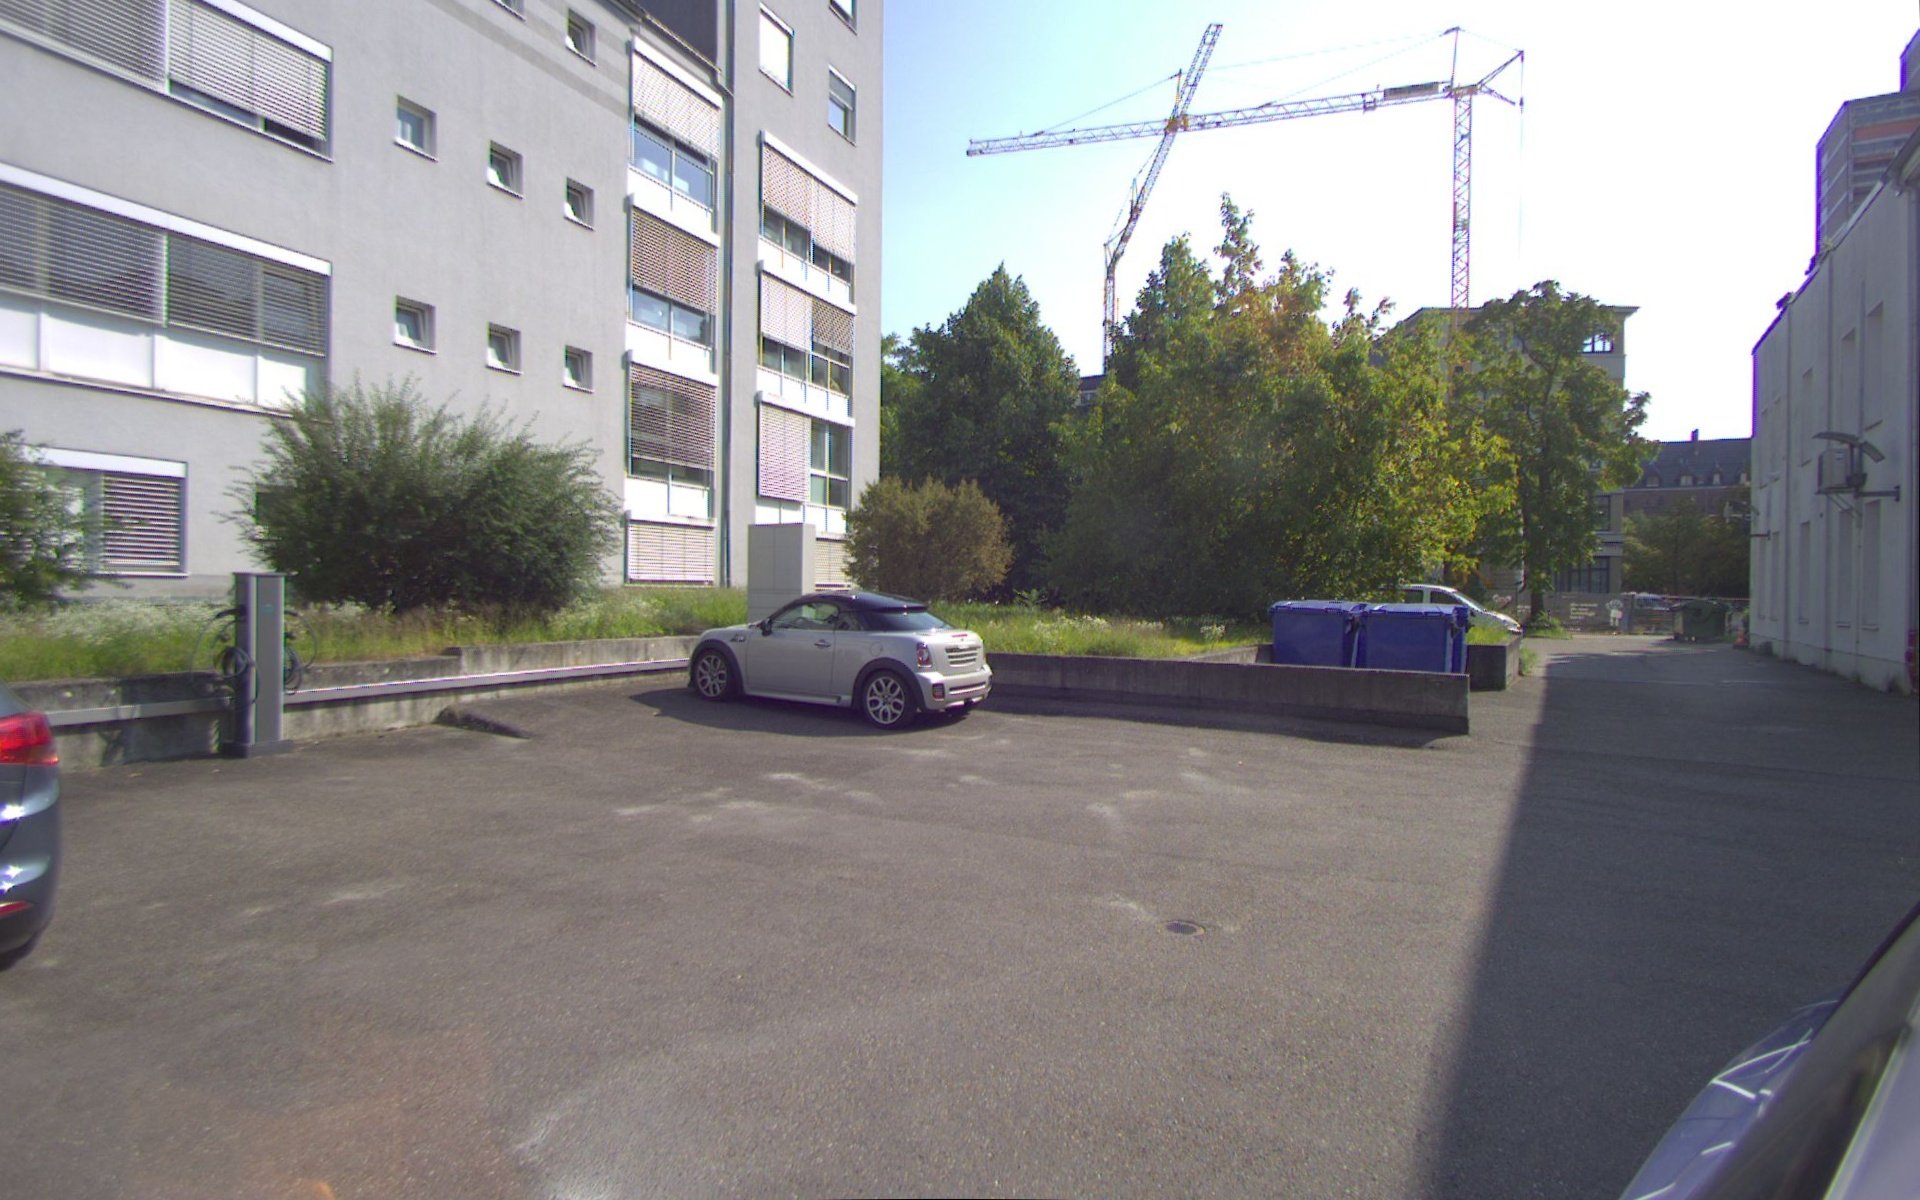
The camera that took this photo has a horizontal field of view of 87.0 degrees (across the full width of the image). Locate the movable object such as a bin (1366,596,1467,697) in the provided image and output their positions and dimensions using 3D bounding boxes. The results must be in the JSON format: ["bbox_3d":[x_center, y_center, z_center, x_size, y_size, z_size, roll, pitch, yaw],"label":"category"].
[{"bbox_3d":[6.624,0.630,14.664,1.204,1.368,1.261,0,0,31],"label":"movable object such as a bin"}]

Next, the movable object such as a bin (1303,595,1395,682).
[{"bbox_3d":[6.440,0.600,16.719,1.192,1.344,1.260,0,0,33],"label":"movable object such as a bin"}]

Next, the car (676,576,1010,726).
[{"bbox_3d":[-1.375,0.487,11.663,3.551,1.455,1.642,1,0,30],"label":"car"}]

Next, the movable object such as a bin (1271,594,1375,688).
[{"bbox_3d":[5.548,0.592,15.430,1.249,1.344,1.260,0,0,33],"label":"movable object such as a bin"}]

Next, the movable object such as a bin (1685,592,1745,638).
[{"bbox_3d":[25.207,0.481,33.829,1.514,1.484,1.260,1,0,33],"label":"movable object such as a bin"}]

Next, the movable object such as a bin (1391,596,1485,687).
[{"bbox_3d":[7.541,0.623,15.957,1.192,1.344,1.260,0,0,33],"label":"movable object such as a bin"}]

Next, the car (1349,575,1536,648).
[{"bbox_3d":[14.177,0.282,29.838,4.762,1.956,1.885,1,0,35],"label":"car"}]

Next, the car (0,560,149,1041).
[{"bbox_3d":[-4.971,0.583,3.656,4.021,1.496,1.726,1,0,28],"label":"car"}]
